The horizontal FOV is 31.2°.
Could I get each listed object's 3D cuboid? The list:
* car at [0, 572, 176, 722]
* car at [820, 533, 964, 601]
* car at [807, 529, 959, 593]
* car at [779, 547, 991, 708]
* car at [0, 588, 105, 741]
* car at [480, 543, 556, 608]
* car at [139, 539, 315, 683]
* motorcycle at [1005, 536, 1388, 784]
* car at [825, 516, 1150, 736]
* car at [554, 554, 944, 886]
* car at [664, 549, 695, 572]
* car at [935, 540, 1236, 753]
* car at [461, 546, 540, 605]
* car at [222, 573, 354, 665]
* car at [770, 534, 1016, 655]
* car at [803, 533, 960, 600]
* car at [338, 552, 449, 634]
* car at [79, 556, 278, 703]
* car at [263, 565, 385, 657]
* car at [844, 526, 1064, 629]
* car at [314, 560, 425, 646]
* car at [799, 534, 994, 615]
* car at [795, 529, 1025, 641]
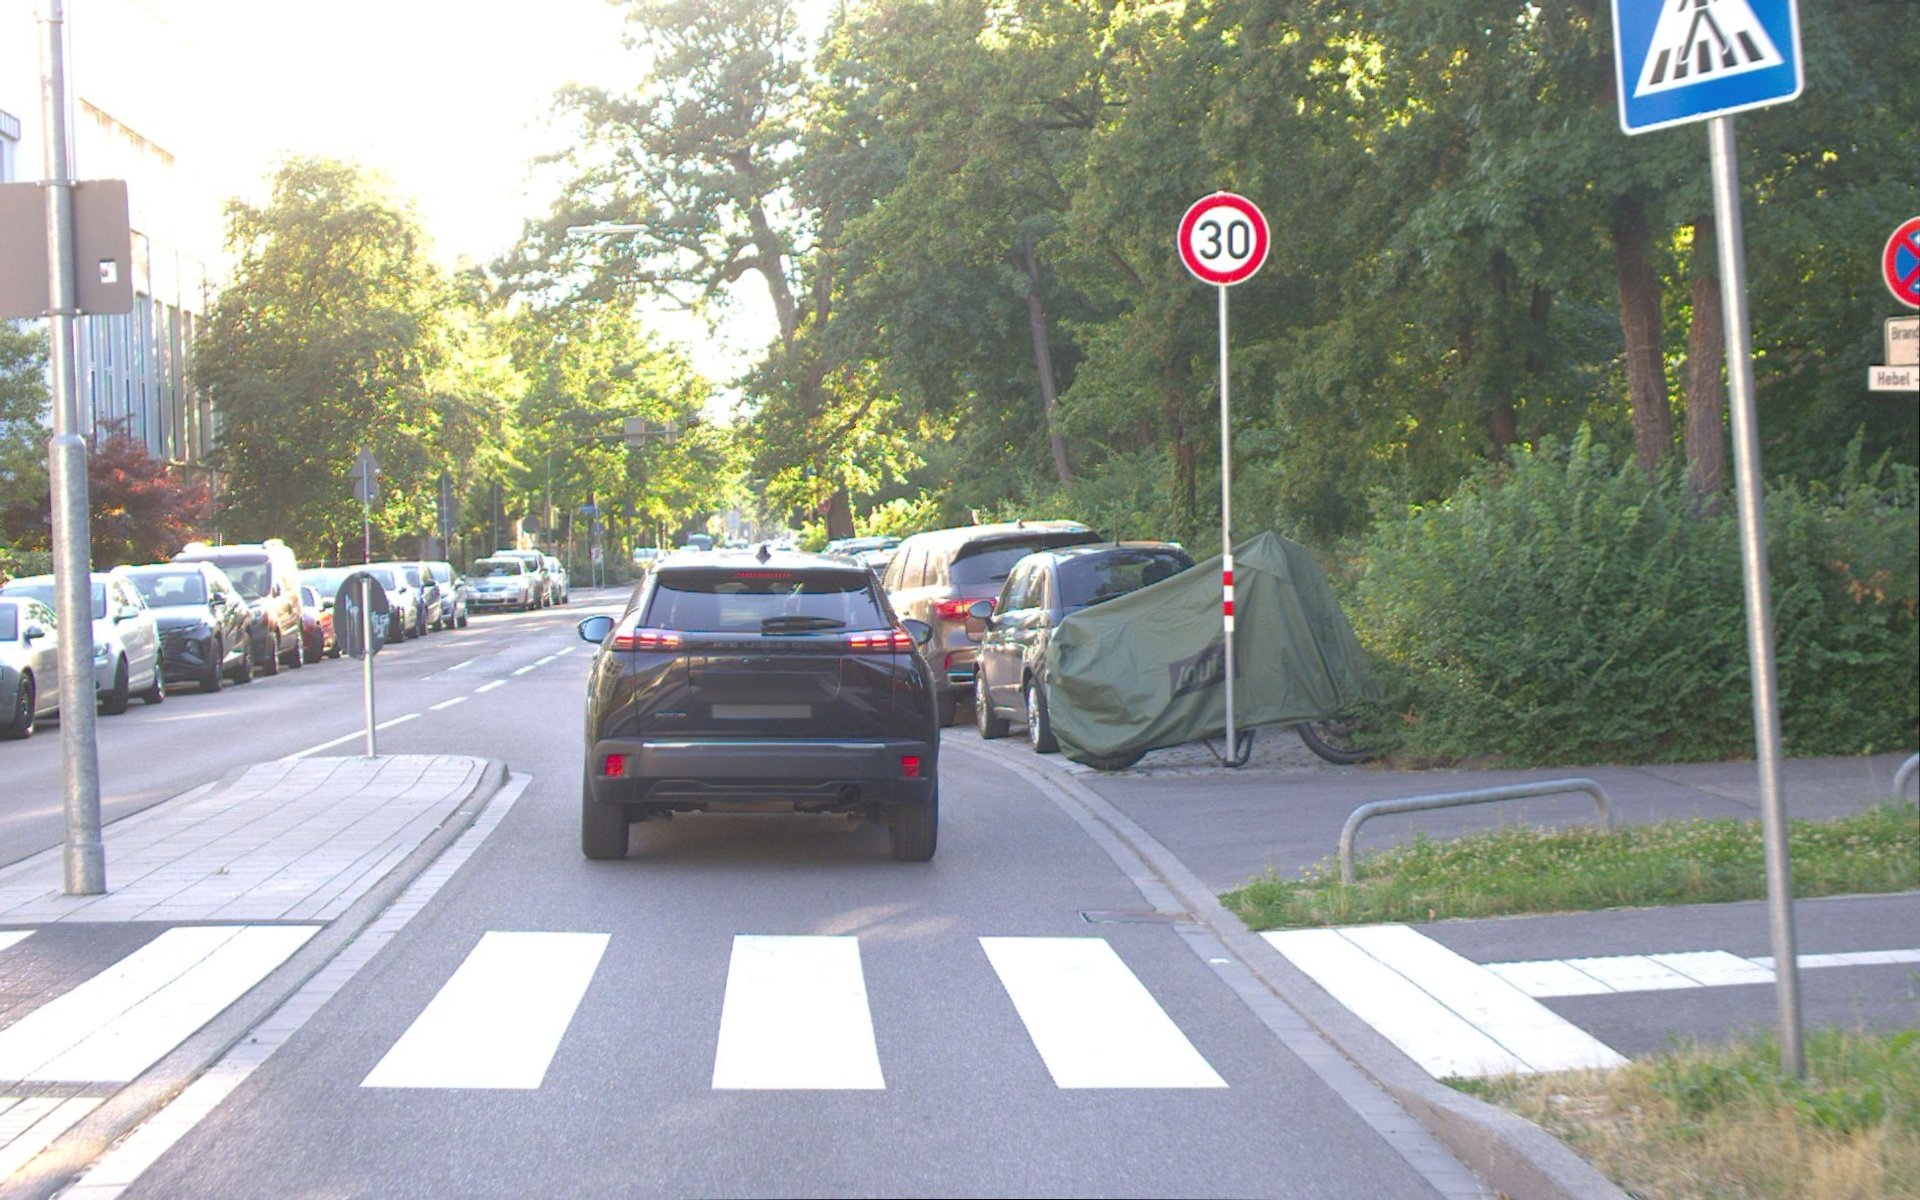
[{"bbox_3d":[-10.125,0.503,39.057,1.742,1.528,4.116,-2,1,-5],"label":"car"},{"bbox_3d":[-1.797,-0.858,89.876,3.588,1.561,1.819,-4,0,-3],"label":"car"},{"bbox_3d":[-2.148,-1.107,97.084,4.170,1.704,1.867,-1,1,2],"label":"car"},{"bbox_3d":[-0.862,0.246,36.854,1.650,1.562,4.302,-2,1,-9],"label":"car"},{"bbox_3d":[-9.763,0.620,33.807,1.742,1.352,4.397,-2,1,-3],"label":"car"},{"bbox_3d":[-12.634,-0.724,98.414,1.679,1.702,4.341,-3,2,-2],"label":"car"},{"bbox_3d":[-10.601,0.114,50.000,1.807,1.883,4.239,-3,2,-4],"label":"car"},{"bbox_3d":[1.571,0.392,22.713,2.294,1.539,1.038,-2,1,18],"label":"motorcycle"},{"bbox_3d":[0.149,0.180,30.834,1.921,1.742,4.668,-2,1,-11],"label":"car"},{"bbox_3d":[-1.190,0.546,17.962,1.767,1.563,3.381,0,1,-8],"label":"car"},{"bbox_3d":[-18.097,-2.563,221.729,1.810,1.349,3.980,-2,1,-6],"label":"car"},{"bbox_3d":[0.906,0.312,26.671,1.619,1.481,3.420,-2,1,-9],"label":"car"},{"bbox_3d":[-12.366,-0.688,92.668,1.670,1.488,4.062,-2,1,-2],"label":"car"},{"bbox_3d":[-10.764,0.284,55.273,1.556,1.275,3.734,-3,2,-4],"label":"car"},{"bbox_3d":[-1.062,-0.102,53.149,3.609,1.520,1.672,-5,2,-4],"label":"car"},{"bbox_3d":[-2.110,-0.910,92.345,4.122,1.661,1.723,-2,1,-2],"label":"car"},{"bbox_3d":[-11.581,-0.168,70.448,1.598,1.502,3.787,-3,2,-1],"label":"car"},{"bbox_3d":[-10.049,0.336,44.497,1.742,1.670,4.417,-3,2,-4],"label":"car"},{"bbox_3d":[-11.016,0.165,59.741,1.598,1.450,3.862,-2,1,-4],"label":"car"},{"bbox_3d":[-0.135,-0.403,60.911,3.725,1.493,1.820,-5,1,-2],"label":"car"},{"bbox_3d":[-11.275,0.031,65.826,1.598,1.450,4.056,-3,2,-4],"label":"car"},{"bbox_3d":[-1.457,-0.602,79.054,4.337,1.470,1.742,-4,2,-1],"label":"car"},{"bbox_3d":[-0.870,-0.267,58.220,3.666,1.547,1.735,-5,2,-4],"label":"car"}]
